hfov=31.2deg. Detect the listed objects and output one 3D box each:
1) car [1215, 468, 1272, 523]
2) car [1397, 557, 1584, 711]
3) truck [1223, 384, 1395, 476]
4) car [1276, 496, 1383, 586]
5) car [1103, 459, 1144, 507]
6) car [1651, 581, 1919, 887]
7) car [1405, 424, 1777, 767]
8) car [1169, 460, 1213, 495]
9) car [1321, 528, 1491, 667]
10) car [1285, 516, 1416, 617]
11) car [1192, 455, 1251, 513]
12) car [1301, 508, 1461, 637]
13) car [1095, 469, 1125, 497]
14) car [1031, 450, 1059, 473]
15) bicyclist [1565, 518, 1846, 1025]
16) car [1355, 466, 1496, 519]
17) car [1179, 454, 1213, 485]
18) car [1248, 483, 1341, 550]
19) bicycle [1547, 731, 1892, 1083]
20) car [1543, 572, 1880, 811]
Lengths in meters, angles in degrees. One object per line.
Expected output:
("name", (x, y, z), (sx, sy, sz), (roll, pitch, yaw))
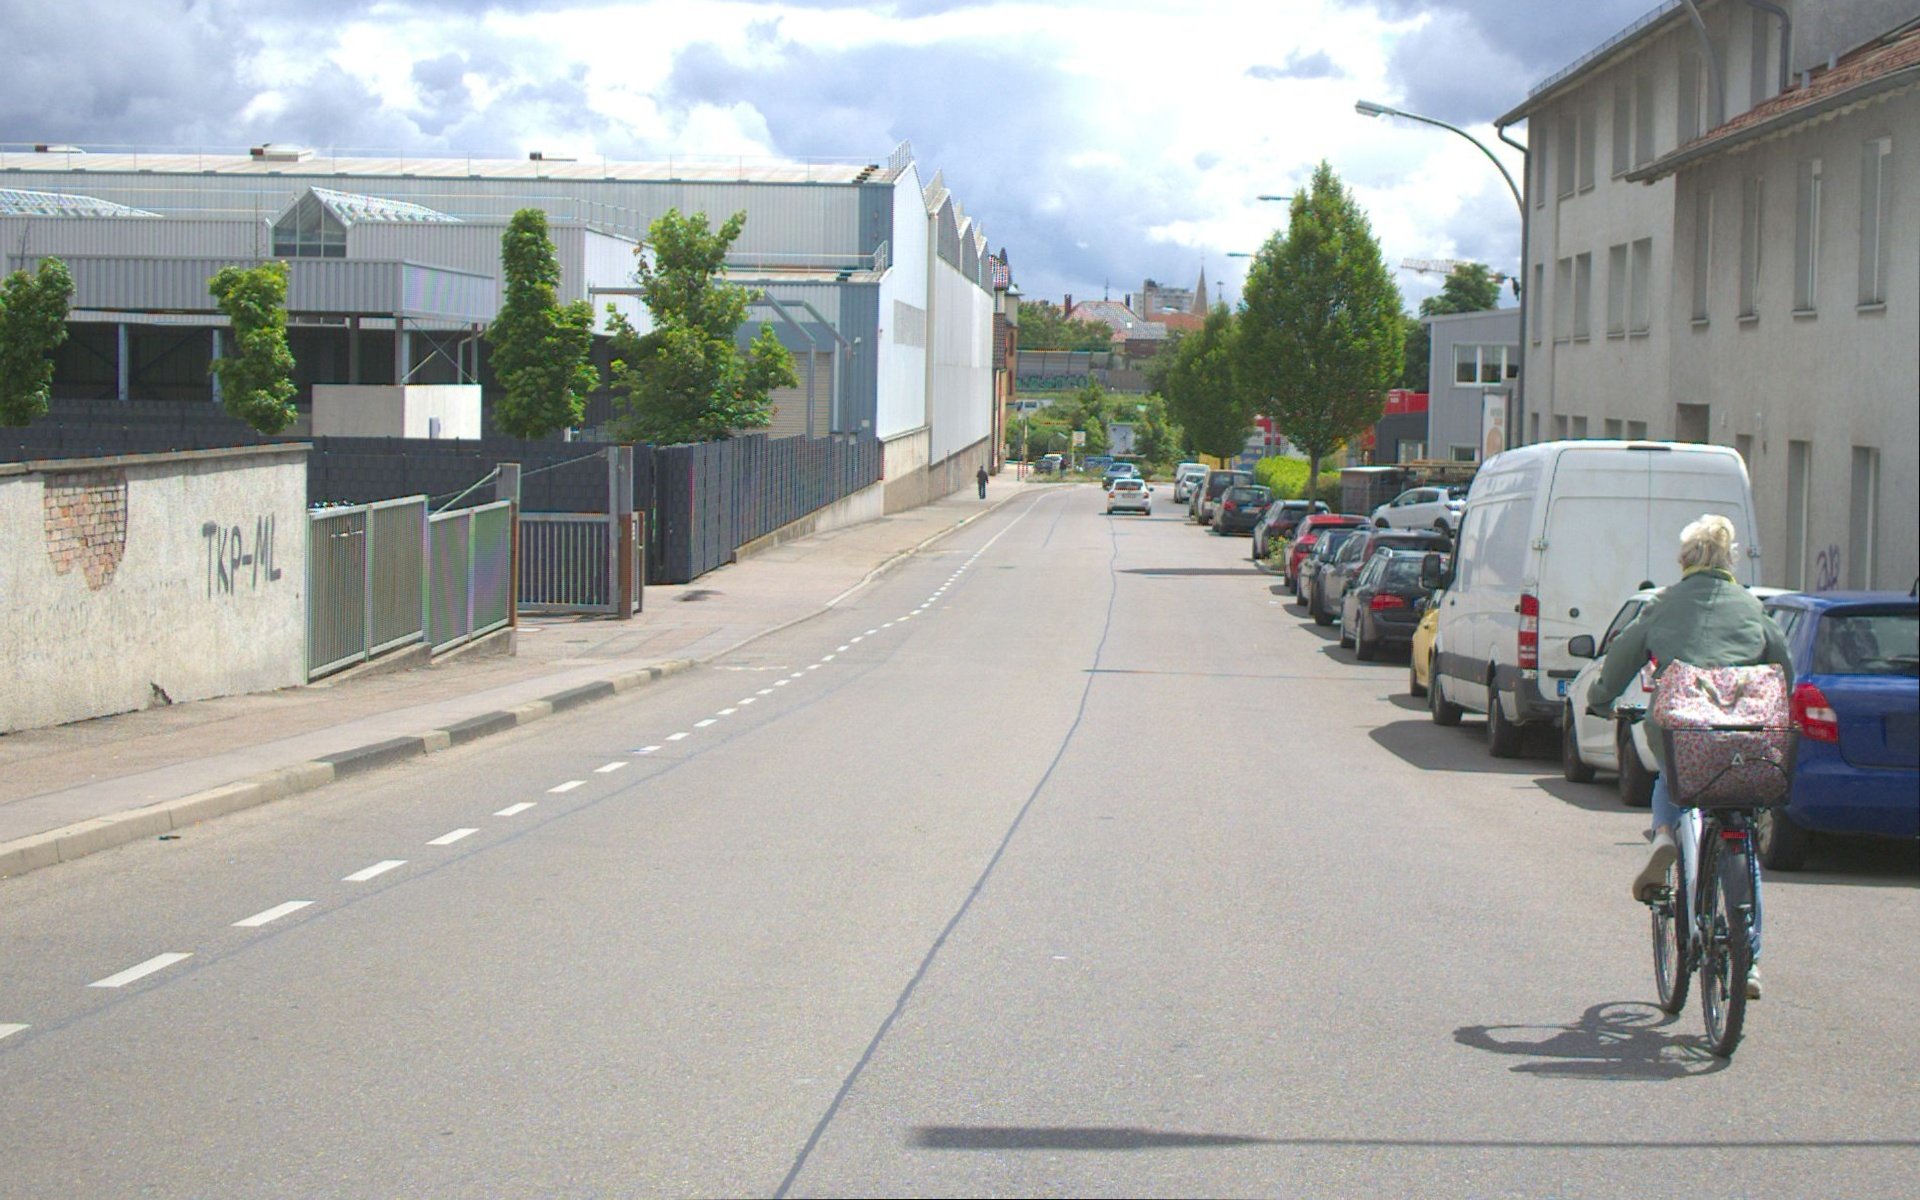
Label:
("car", (8.829, -3.271, 107.231), (1.679, 1.632, 4.122), (1, 2, 4))
("car", (5.625, 0.317, 36.812), (1.593, 1.442, 3.790), (1, 2, 3))
("truck", (18.217, -8.909, 179.729), (8.461, 4.654, 2.579), (2, 1, 24))
("car", (6.924, -1.143, 64.748), (1.735, 1.467, 4.262), (2, 3, 3))
("car", (6.523, -4.661, 137.405), (1.567, 1.780, 3.605), (1, 1, 2))
("car", (5.062, 0.679, 19.498), (1.567, 1.505, 4.094), (1, 1, 2))
("car", (5.393, -0.086, 30.475), (2.033, 2.632, 7.283), (1, 1, 1))
("car", (11.178, -5.948, 166.279), (1.701, 1.522, 3.739), (4, 3, -1))
("car", (6.026, -0.083, 46.918), (1.704, 1.504, 5.088), (3, 3, 1))
("car", (6.548, -0.604, 58.065), (1.735, 1.418, 4.861), (2, 3, 2))
("car", (9.264, -4.125, 122.110), (1.869, 1.983, 5.144), (1, 2, 2))
("car", (6.375, -0.459, 52.482), (1.676, 1.632, 4.797), (3, 3, -1))
("car", (8.972, -6.987, 205.655), (1.719, 1.550, 4.288), (-2, 1, 2))
("car", (5.801, -9.409, 233.717), (1.853, 1.481, 4.000), (1, 1, 2))
("bicyclist", (2.472, 0.550, 11.470), (0.739, 1.621, 0.731), (1, 1, 0))
("car", (13.601, -3.129, 100.642), (1.720, 1.457, 4.074), (-4, 3, -36))
("car", (12.133, -6.731, 176.750), (1.701, 1.522, 3.738), (2, 3, 4))
("car", (7.808, -1.974, 80.628), (1.791, 1.460, 4.709), (1, 2, 1))
("bicycle", (2.465, 0.969, 11.355), (0.740, 0.972, 1.732), (1, 1, 0))
("car", (5.239, 0.585, 24.401), (1.593, 1.505, 3.790), (1, 1, 1))
